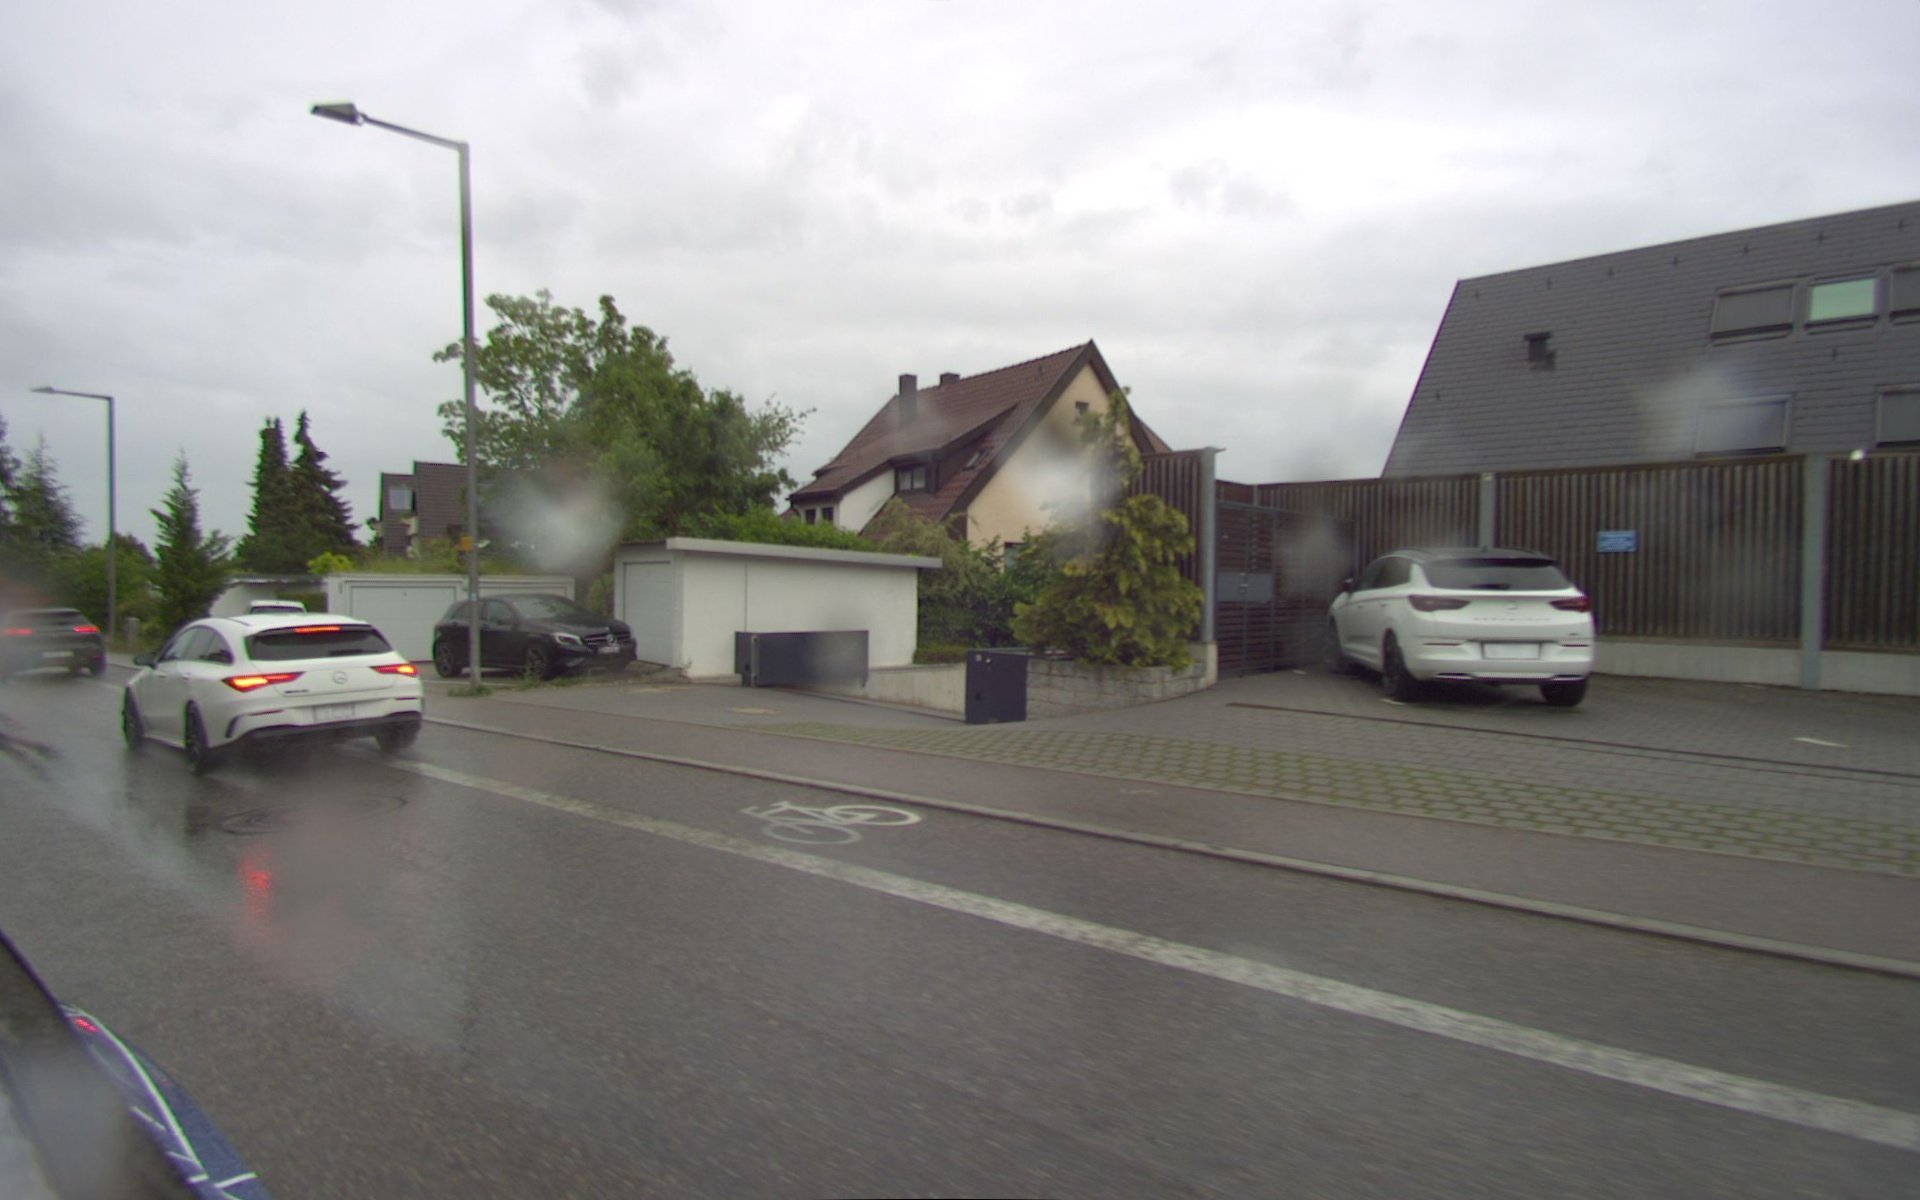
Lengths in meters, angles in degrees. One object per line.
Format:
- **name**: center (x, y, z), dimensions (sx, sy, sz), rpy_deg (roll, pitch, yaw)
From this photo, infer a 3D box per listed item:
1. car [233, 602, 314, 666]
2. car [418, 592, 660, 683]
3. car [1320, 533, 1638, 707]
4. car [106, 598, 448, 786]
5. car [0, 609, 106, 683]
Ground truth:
- **car**: center (-18.827, 0.871, 27.713), dimensions (1.682, 1.565, 4.400), rpy_deg (-2, 1, -35)
- **car**: center (-7.520, 0.630, 17.978), dimensions (4.245, 1.416, 1.820), rpy_deg (-1, 1, 32)
- **car**: center (5.528, 0.174, 11.433), dimensions (1.920, 1.586, 4.048), rpy_deg (-1, 1, 8)
- **car**: center (-7.066, 0.769, 10.293), dimensions (4.266, 1.471, 1.828), rpy_deg (-1, 1, 41)
- **car**: center (-20.711, 0.985, 22.684), dimensions (3.697, 1.480, 1.832), rpy_deg (-1, 1, 41)
